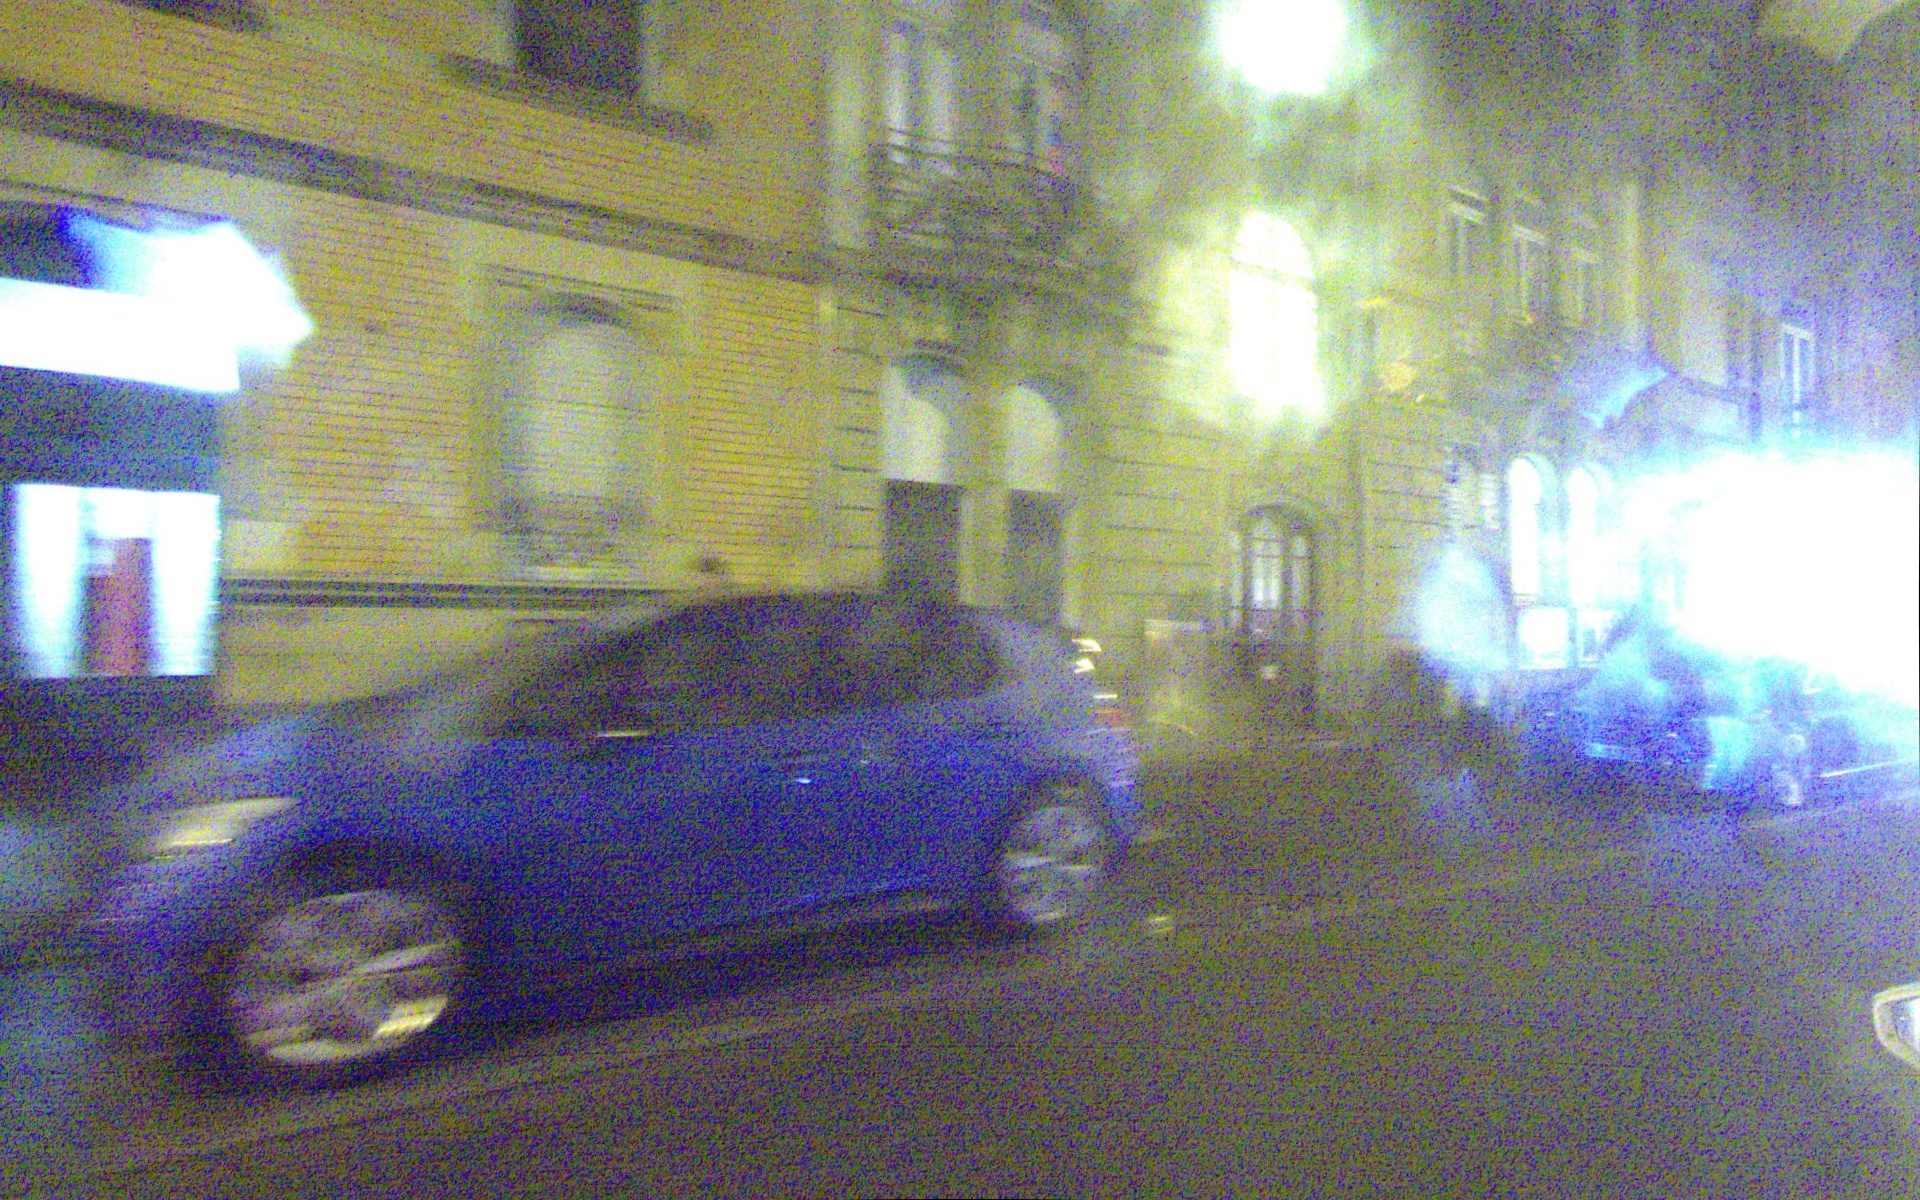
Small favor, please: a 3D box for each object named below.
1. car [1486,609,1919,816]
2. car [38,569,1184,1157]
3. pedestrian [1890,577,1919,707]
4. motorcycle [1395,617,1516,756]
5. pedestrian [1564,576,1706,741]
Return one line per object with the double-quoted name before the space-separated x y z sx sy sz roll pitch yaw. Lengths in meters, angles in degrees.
"car" 7.240 0.875 9.335 4.972 1.498 1.838 1 -1 -30
"car" -1.090 0.722 4.430 4.116 1.498 1.706 1 -1 -34
"pedestrian" 17.315 0.744 17.904 1.104 2.270 0.795 1 -2 -31
"motorcycle" 5.667 0.956 11.470 1.441 1.490 0.534 1 0 -31
"pedestrian" 8.261 0.696 12.298 1.399 1.888 0.950 1 -2 -31
